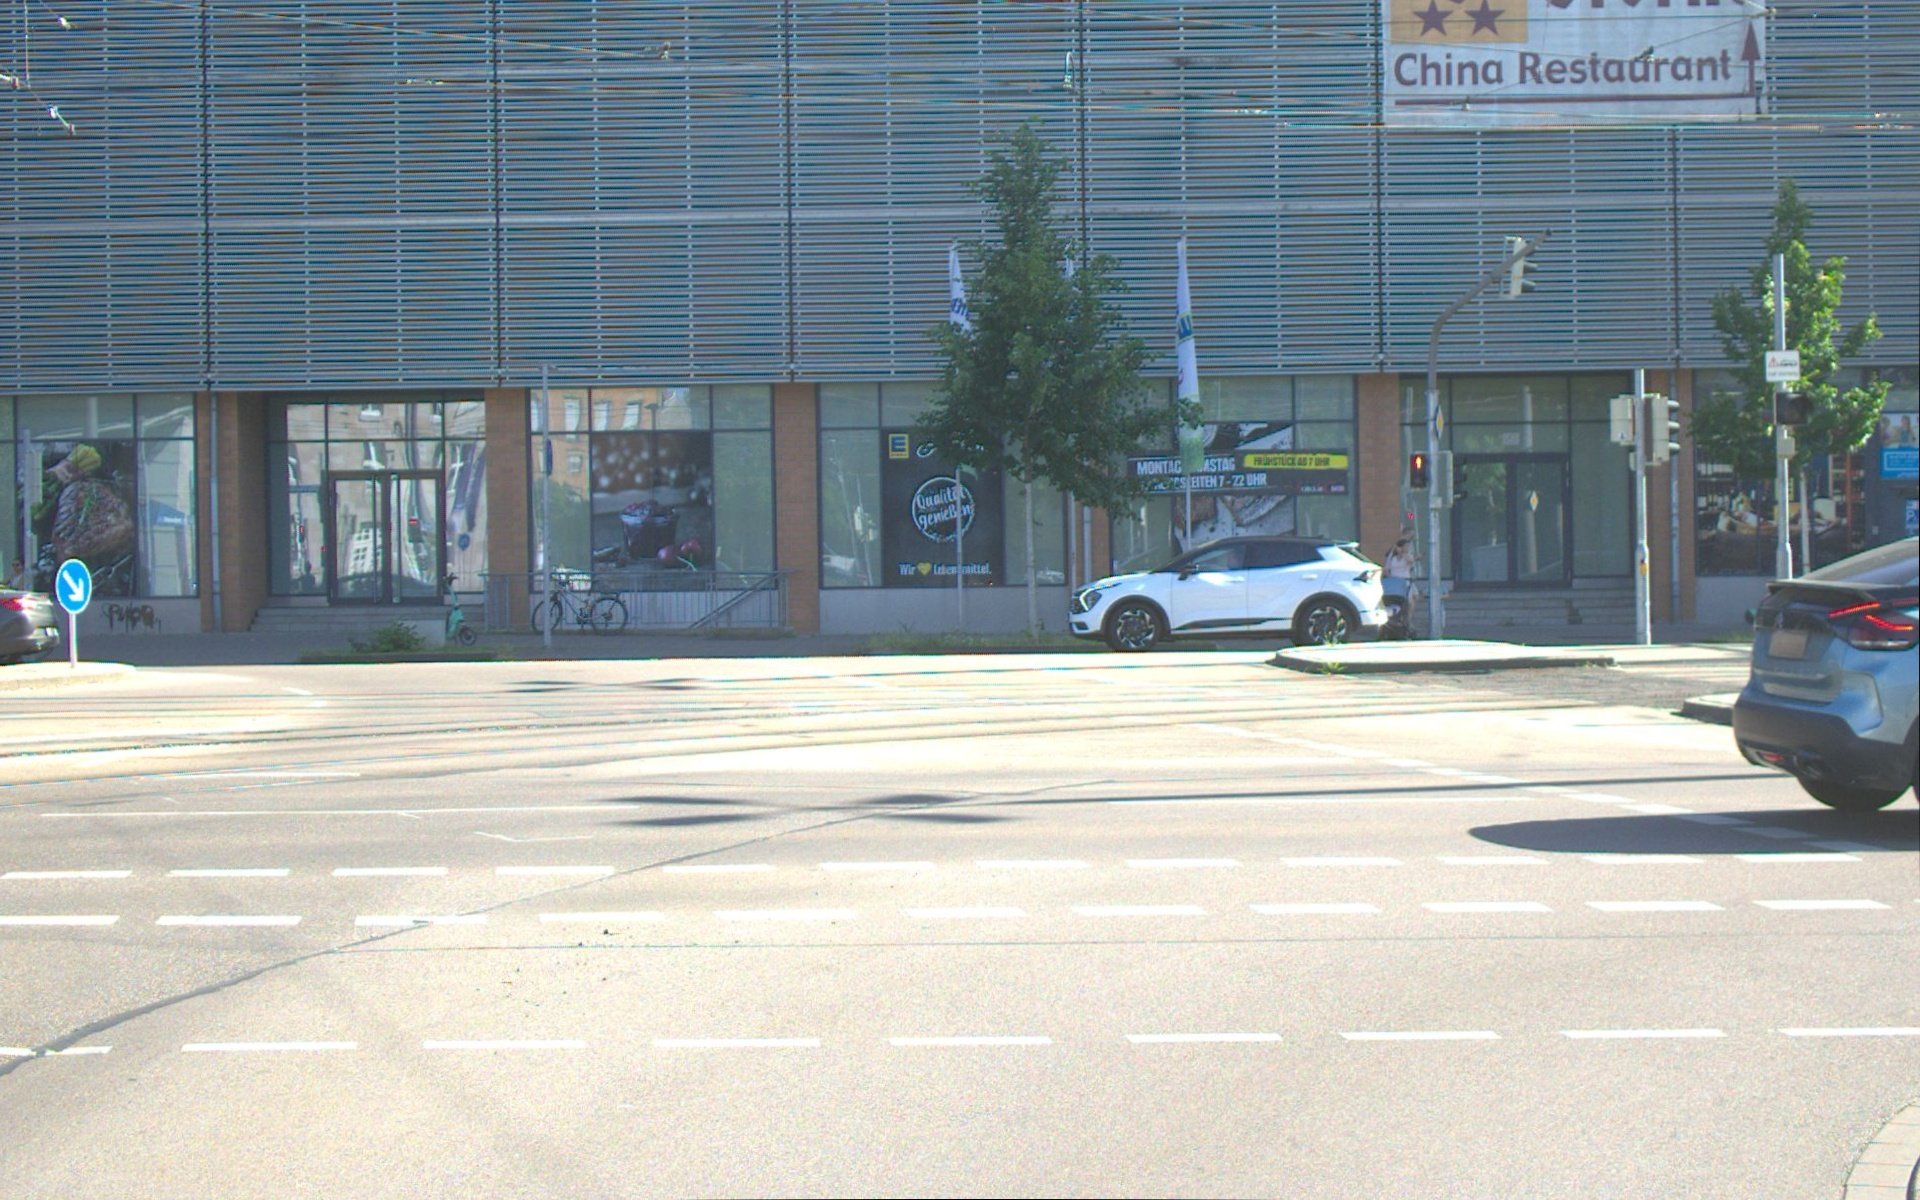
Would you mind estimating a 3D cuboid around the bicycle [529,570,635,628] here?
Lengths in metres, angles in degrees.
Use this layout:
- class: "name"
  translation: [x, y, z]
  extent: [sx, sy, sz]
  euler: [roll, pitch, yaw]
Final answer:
- class: "bicycle"
  translation: [-6.651, -0.020, 60.542]
  extent: [1.815, 0.986, 0.558]
  euler: [-1, 2, -10]

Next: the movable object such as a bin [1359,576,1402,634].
- class: "movable object such as a bin"
  translation: [6.711, 0.076, 54.807]
  extent: [0.613, 0.901, 0.968]
  euler: [1, 0, 10]

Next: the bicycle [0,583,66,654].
- class: "bicycle"
  translation: [-15.247, 0.306, 54.860]
  extent: [0.568, 1.082, 1.859]
  euler: [1, 3, 43]

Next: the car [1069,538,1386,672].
- class: "car"
  translation: [3.762, 0.069, 48.849]
  extent: [4.326, 1.856, 1.841]
  euler: [0, 0, -1]

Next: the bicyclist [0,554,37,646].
- class: "bicyclist"
  translation: [-15.280, -0.003, 54.780]
  extent: [0.675, 1.422, 0.847]
  euler: [1, 3, 43]

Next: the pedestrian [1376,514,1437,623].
- class: "pedestrian"
  translation: [7.731, -0.536, 59.528]
  extent: [0.950, 1.822, 0.845]
  euler: [-2, -3, 5]

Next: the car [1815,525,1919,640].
- class: "car"
  translation: [13.753, -0.145, 45.846]
  extent: [4.146, 1.464, 1.841]
  euler: [3, 0, -1]

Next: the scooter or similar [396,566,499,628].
- class: "scooter or similar"
  translation: [-9.080, -0.050, 60.925]
  extent: [1.792, 1.062, 0.613]
  euler: [0, 2, -8]

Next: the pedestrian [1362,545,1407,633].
- class: "pedestrian"
  translation: [6.830, -0.179, 55.268]
  extent: [0.655, 1.409, 0.849]
  euler: [1, 0, 10]

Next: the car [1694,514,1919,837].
- class: "car"
  translation: [6.020, 0.347, 17.163]
  extent: [4.263, 1.508, 1.710]
  euler: [0, 1, -8]

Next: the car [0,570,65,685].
- class: "car"
  translation: [-15.149, 0.287, 48.917]
  extent: [4.289, 1.578, 1.841]
  euler: [3, 0, -1]
